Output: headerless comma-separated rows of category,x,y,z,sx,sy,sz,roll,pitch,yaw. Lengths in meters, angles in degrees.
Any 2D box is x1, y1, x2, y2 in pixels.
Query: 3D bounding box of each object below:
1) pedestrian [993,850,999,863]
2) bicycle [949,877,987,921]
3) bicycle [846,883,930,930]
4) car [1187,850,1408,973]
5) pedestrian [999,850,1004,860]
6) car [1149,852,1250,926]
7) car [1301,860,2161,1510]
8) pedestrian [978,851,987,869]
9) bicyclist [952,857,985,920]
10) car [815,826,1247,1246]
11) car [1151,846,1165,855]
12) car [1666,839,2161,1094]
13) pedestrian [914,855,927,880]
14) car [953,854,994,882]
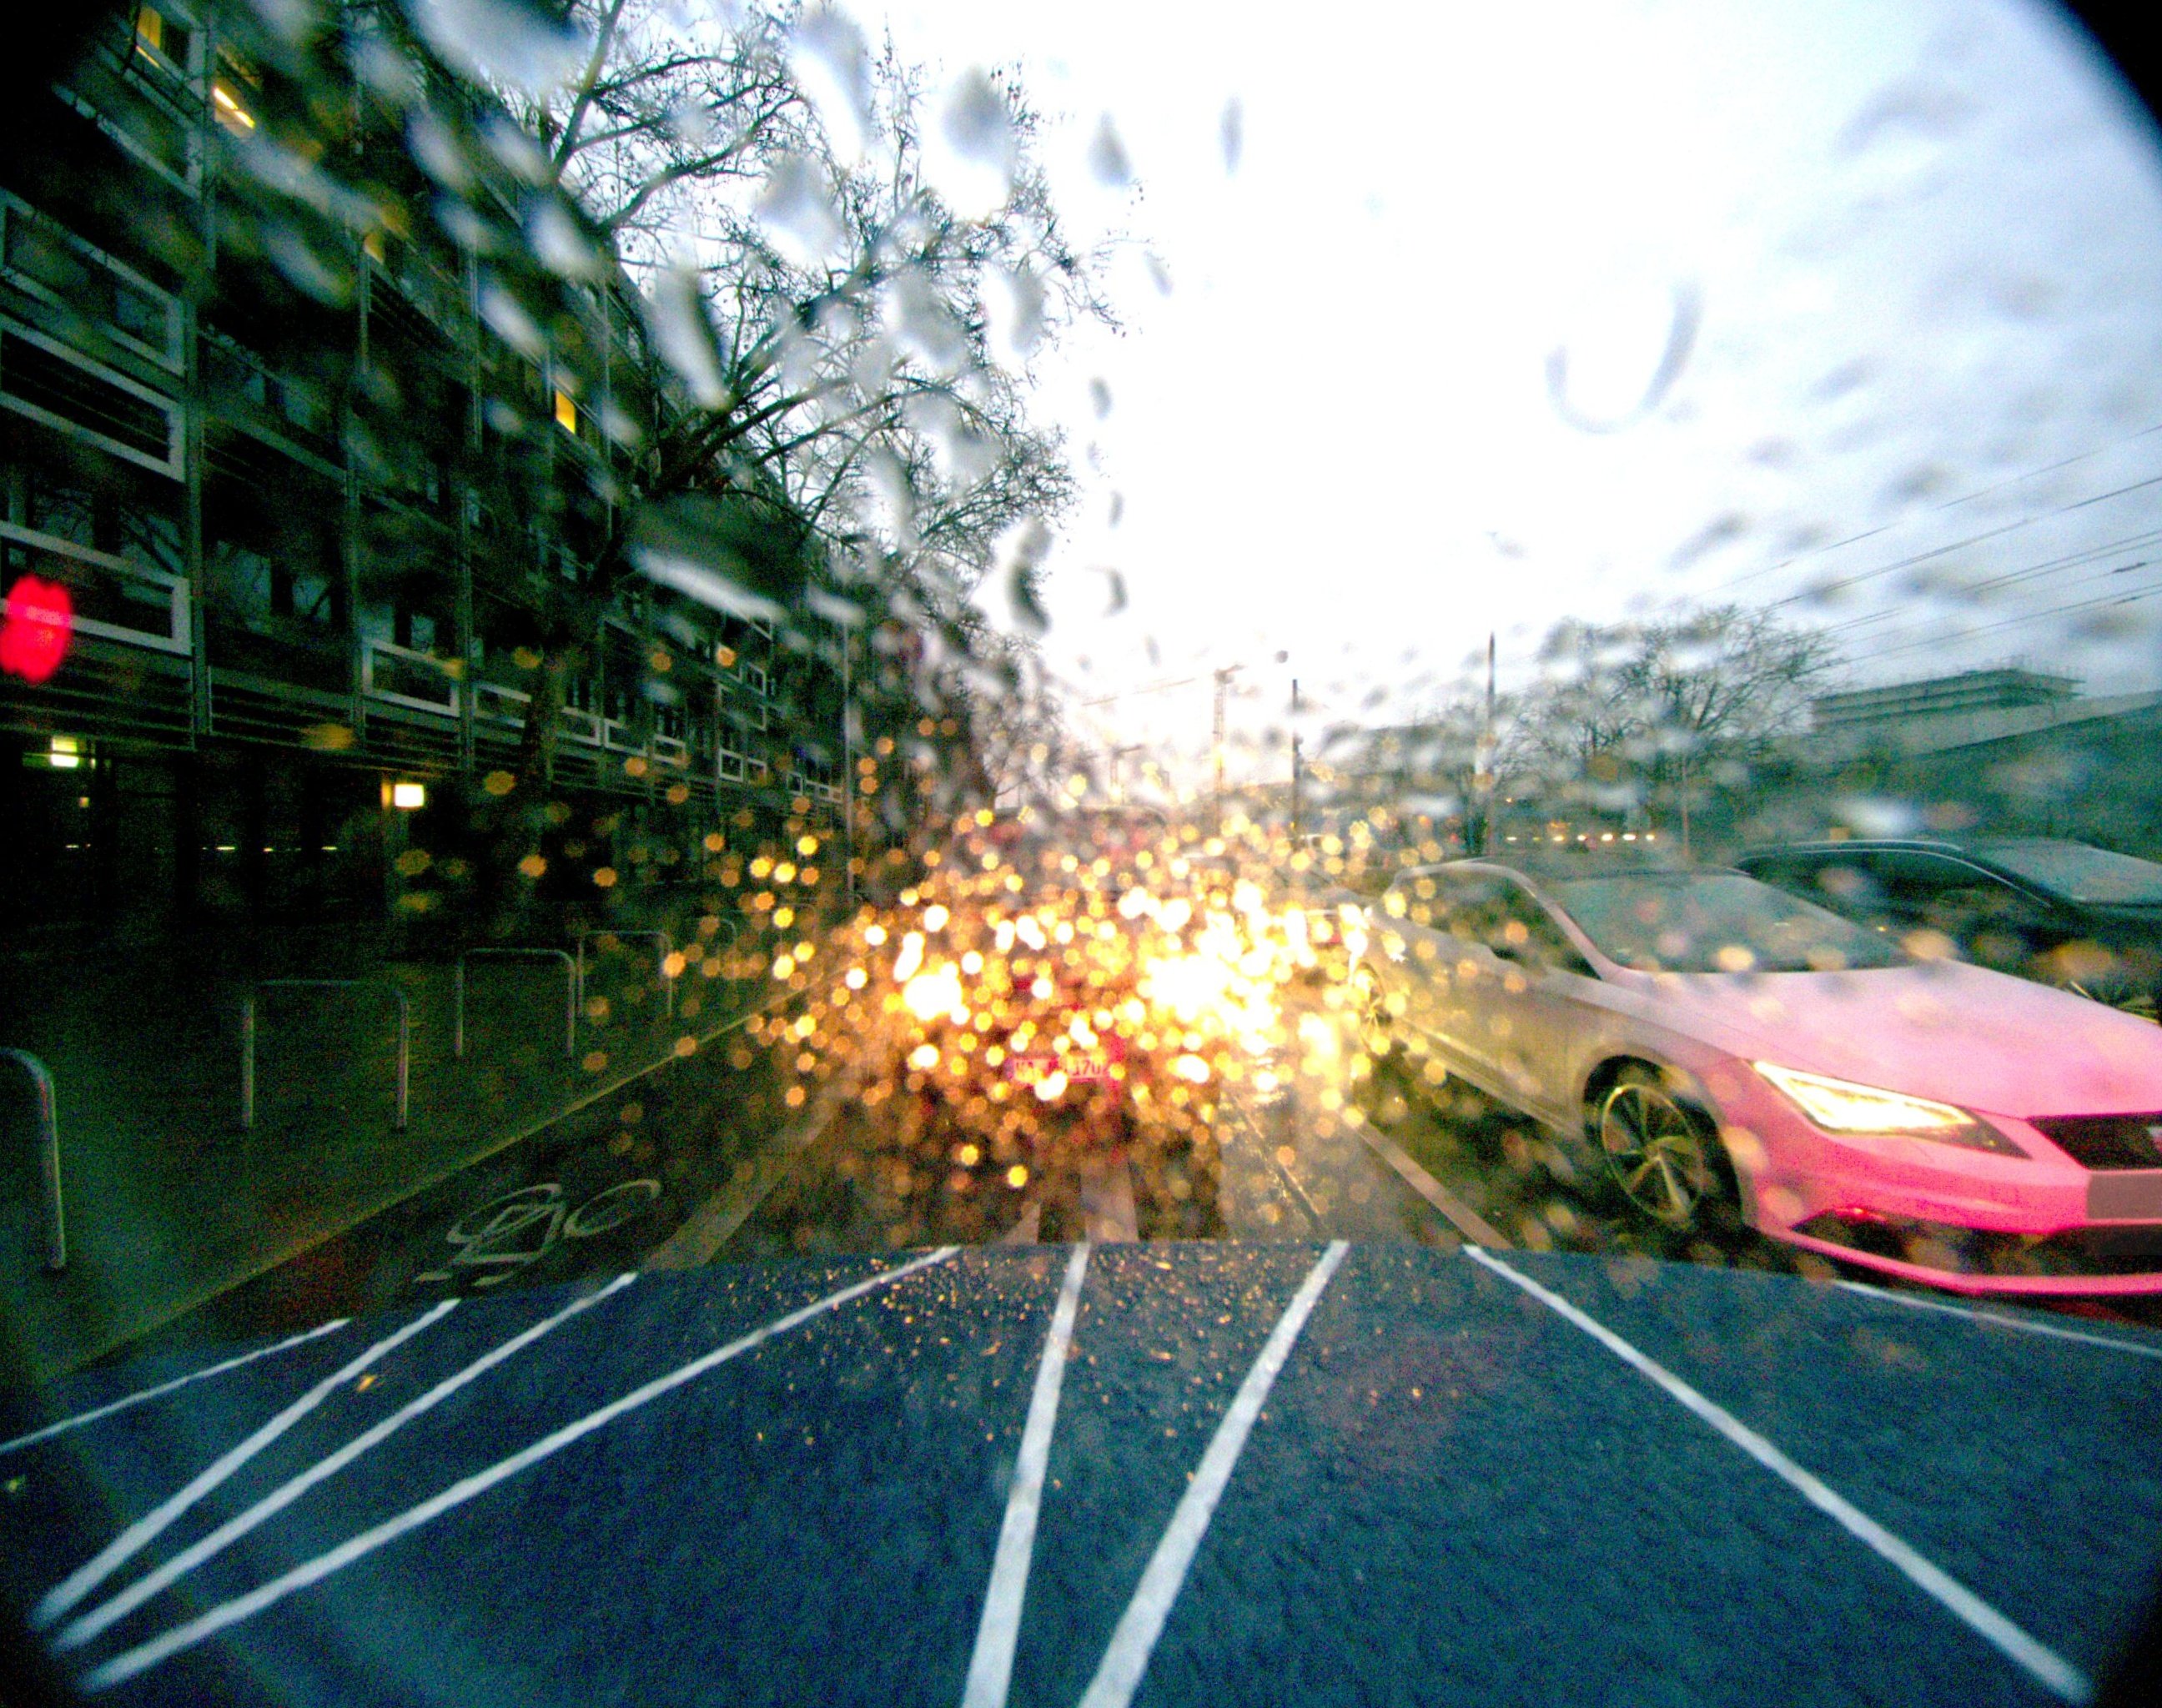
pedestrian,-11.493,0.393,102.593,0.766,1.740,0.928,0,1,-4
bicycle,-3.005,1.185,20.435,0.710,1.088,1.784,-1,0,1
bicycle,-4.461,1.204,17.675,1.704,0.987,0.879,1,1,0
car,2.974,0.698,11.562,1.999,1.478,4.505,-1,0,-1
pedestrian,-14.228,0.120,136.256,0.766,1.740,0.928,0,1,-4
car,2.845,0.793,19.109,1.907,1.565,3.999,-2,1,1
car,2.989,0.836,4.181,1.949,1.478,4.504,-2,0,-4
pedestrian,-9.827,0.618,75.683,0.766,1.740,0.928,0,1,-4
bicyclist,-3.011,0.906,20.422,0.704,1.650,0.964,-1,0,1
car,-0.240,0.802,5.428,1.878,1.830,3.999,-2,1,-1
car,15.849,-0.777,156.730,2.095,1.884,3.997,-1,1,-7
car,7.361,0.648,5.997,1.853,1.499,4.662,-1,1,-1
pedestrian,-11.356,0.934,53.753,0.766,1.740,0.928,0,1,-4
car,-6.082,0.754,43.427,1.713,1.455,3.999,-2,1,1
